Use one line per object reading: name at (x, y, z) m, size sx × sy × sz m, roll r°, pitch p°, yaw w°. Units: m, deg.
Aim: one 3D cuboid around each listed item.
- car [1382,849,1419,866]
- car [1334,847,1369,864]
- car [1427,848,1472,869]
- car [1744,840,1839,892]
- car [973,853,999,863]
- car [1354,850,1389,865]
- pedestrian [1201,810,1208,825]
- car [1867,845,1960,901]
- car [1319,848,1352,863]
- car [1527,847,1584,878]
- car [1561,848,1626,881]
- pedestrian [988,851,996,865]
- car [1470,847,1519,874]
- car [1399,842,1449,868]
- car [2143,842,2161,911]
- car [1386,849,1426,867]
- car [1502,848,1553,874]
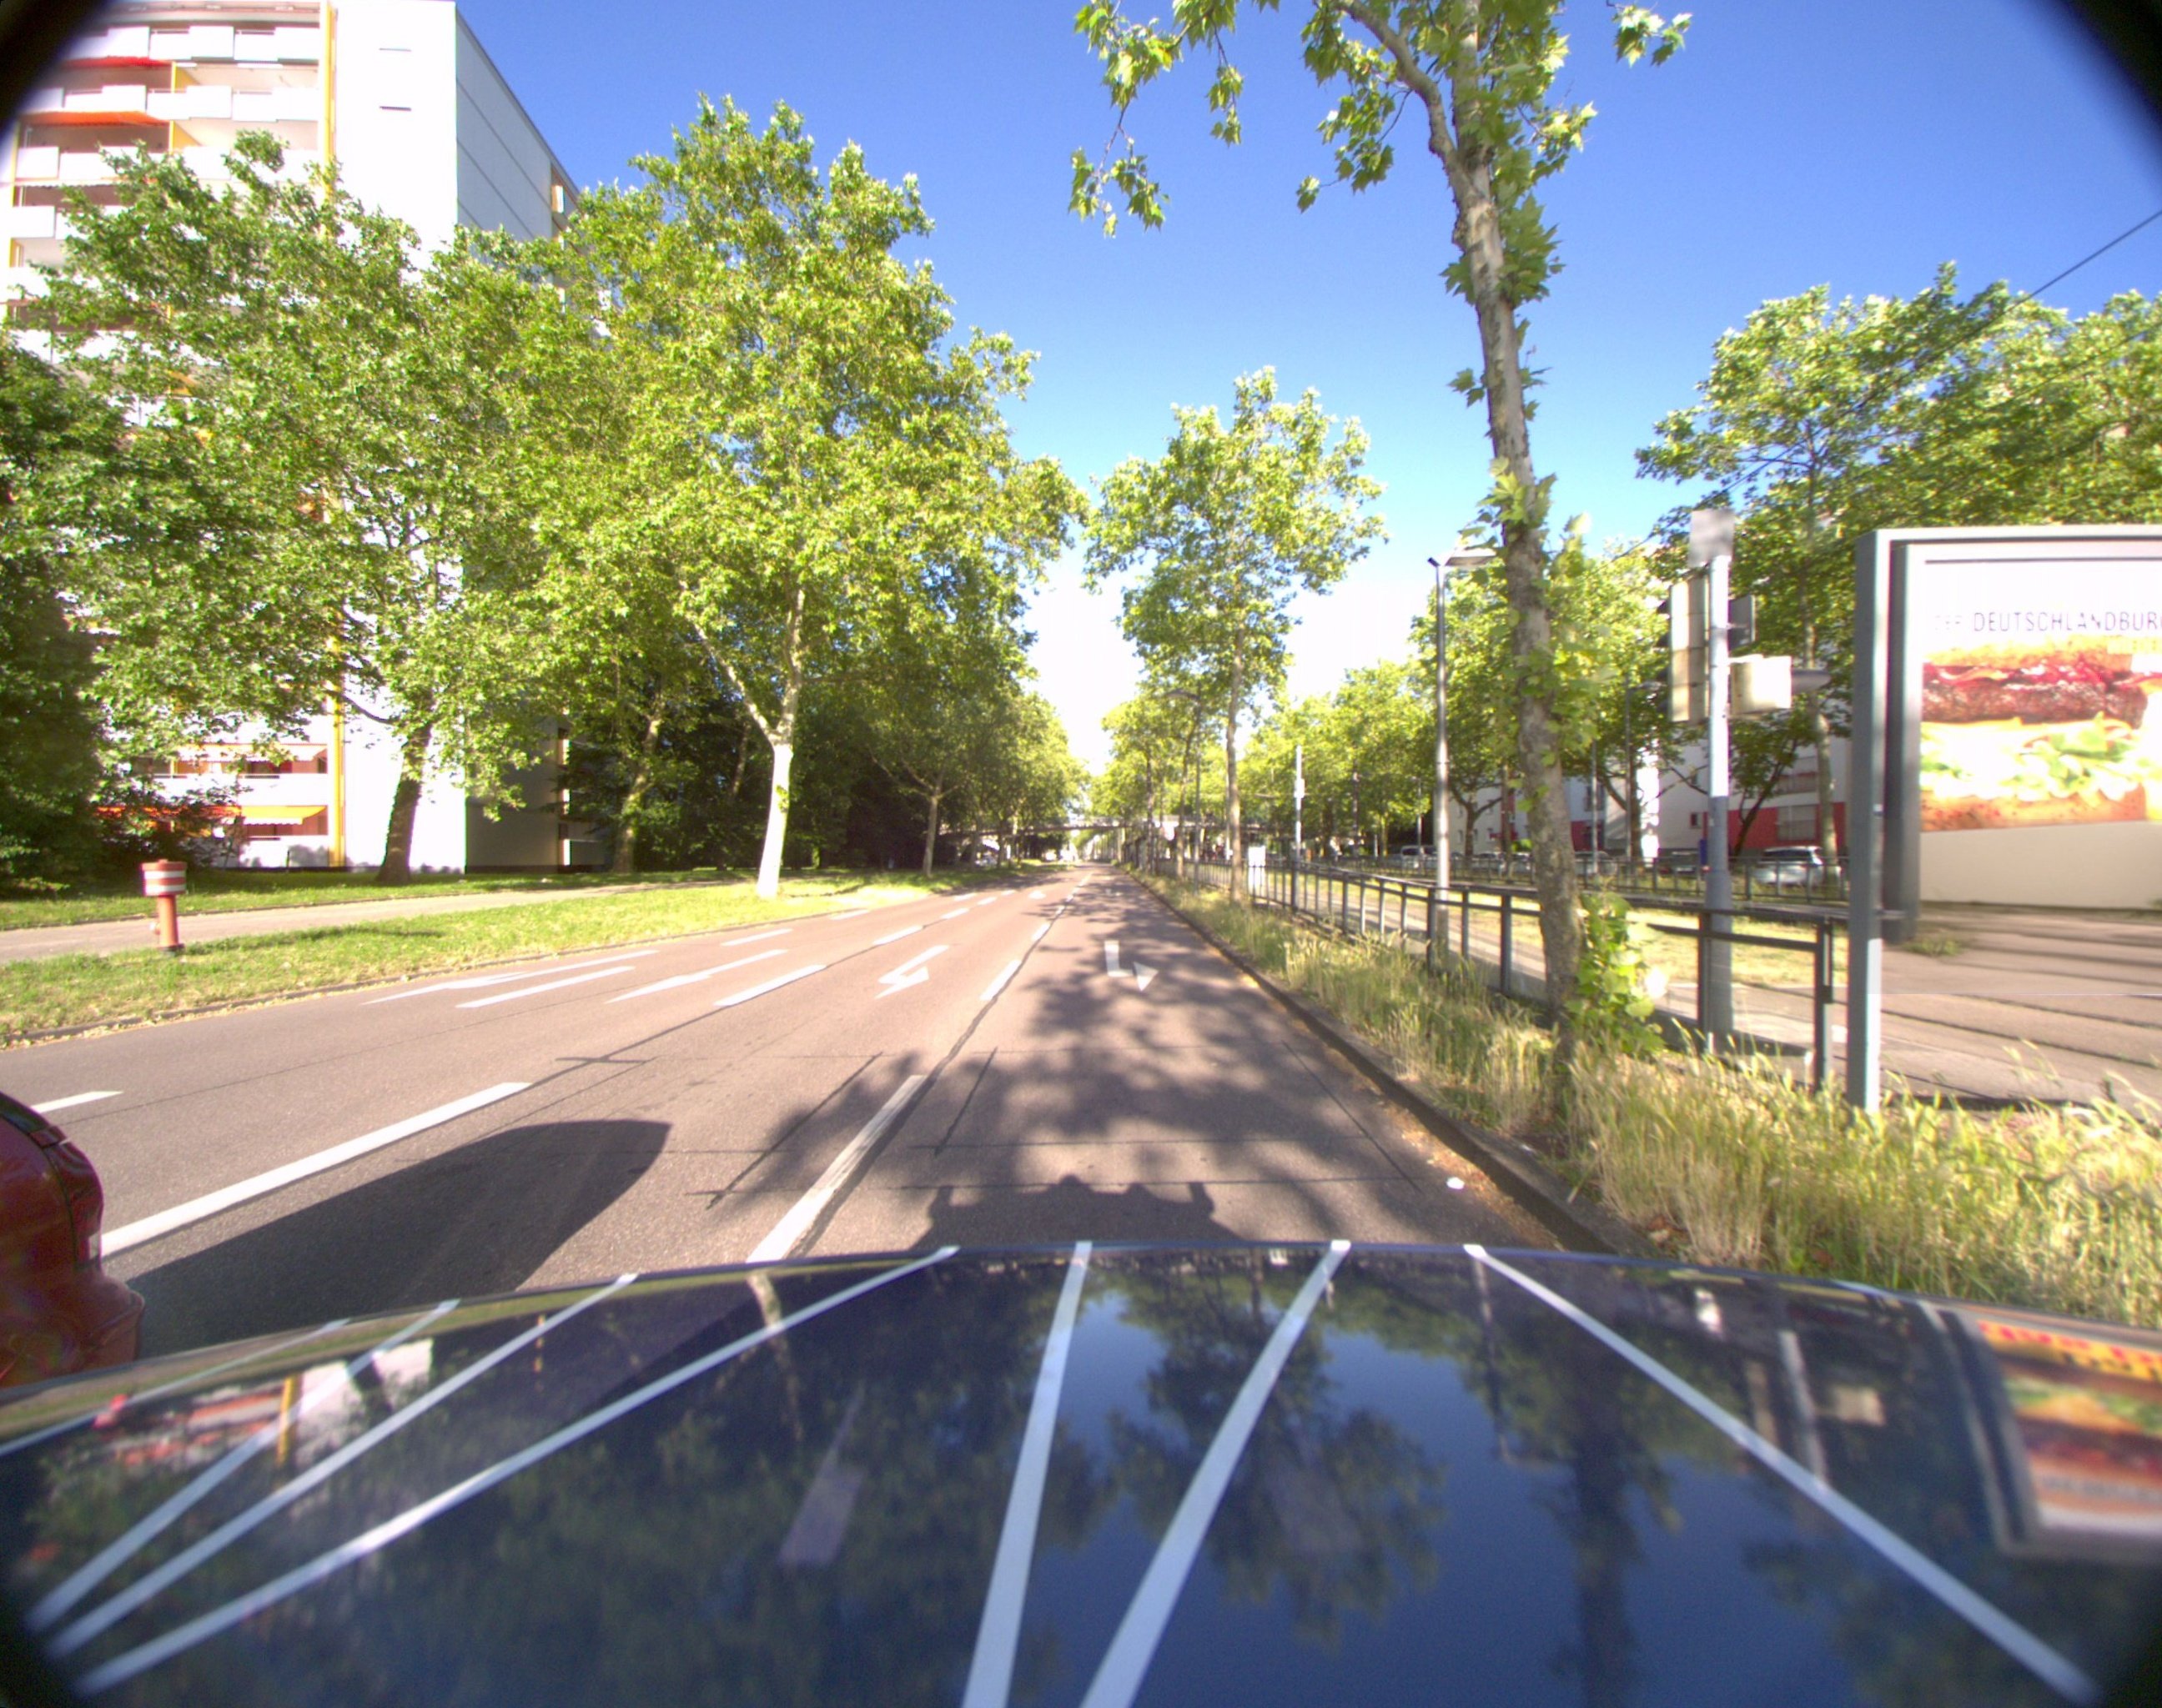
car at (26.966, 0.283, 64.049) m, size 3.494 × 1.293 × 1.476 m, roll -1°, pitch 1°, yaw -41°
car at (26.116, 0.131, 73.369) m, size 3.835 × 1.561 × 1.597 m, roll -1°, pitch 1°, yaw -43°
car at (26.204, 0.319, 53.961) m, size 3.494 × 1.395 × 1.623 m, roll -1°, pitch 1°, yaw -41°
car at (25.221, 0.401, 26.942) m, size 4.007 × 1.586 × 1.810 m, roll -3°, pitch 1°, yaw -37°
car at (-15.170, 0.589, 121.462) m, size 3.999 × 1.465 × 1.797 m, roll -3°, pitch 1°, yaw -8°
car at (26.603, 0.287, 69.598) m, size 3.494 × 1.312 × 1.476 m, roll -1°, pitch 1°, yaw -41°
pedestrian at (16.554, -4.871, 101.843) m, size 0.738 × 1.873 × 0.511 m, roll -3°, pitch 1°, yaw 0°
car at (25.236, 0.539, 23.014) m, size 3.770 × 1.420 × 1.555 m, roll -3°, pitch 1°, yaw -37°
car at (26.667, 0.125, 79.588) m, size 3.742 × 1.517 × 1.597 m, roll -1°, pitch 1°, yaw -43°
car at (25.770, 0.447, 41.258) m, size 3.402 × 1.499 × 1.461 m, roll -3°, pitch 1°, yaw -37°
car at (25.516, 0.517, 37.781) m, size 3.890 × 1.406 × 1.486 m, roll -3°, pitch 1°, yaw -37°
pedestrian at (-13.093, 0.609, 111.818) m, size 0.919 × 2.002 × 0.962 m, roll -3°, pitch 1°, yaw 0°
car at (25.831, 0.392, 47.478) m, size 3.493 × 1.417 × 1.558 m, roll -3°, pitch -1°, yaw -42°
car at (25.697, 0.067, 56.885) m, size 4.056 × 1.802 × 1.864 m, roll -1°, pitch 1°, yaw -40°
car at (24.627, 0.528, 16.236) m, size 4.007 × 1.479 × 1.689 m, roll -3°, pitch 1°, yaw -44°
car at (25.828, 0.280, 60.338) m, size 3.494 × 1.336 × 1.476 m, roll -1°, pitch 1°, yaw -41°
car at (26.231, 0.413, 44.615) m, size 3.493 × 1.321 × 1.476 m, roll -3°, pitch 0°, yaw -41°
